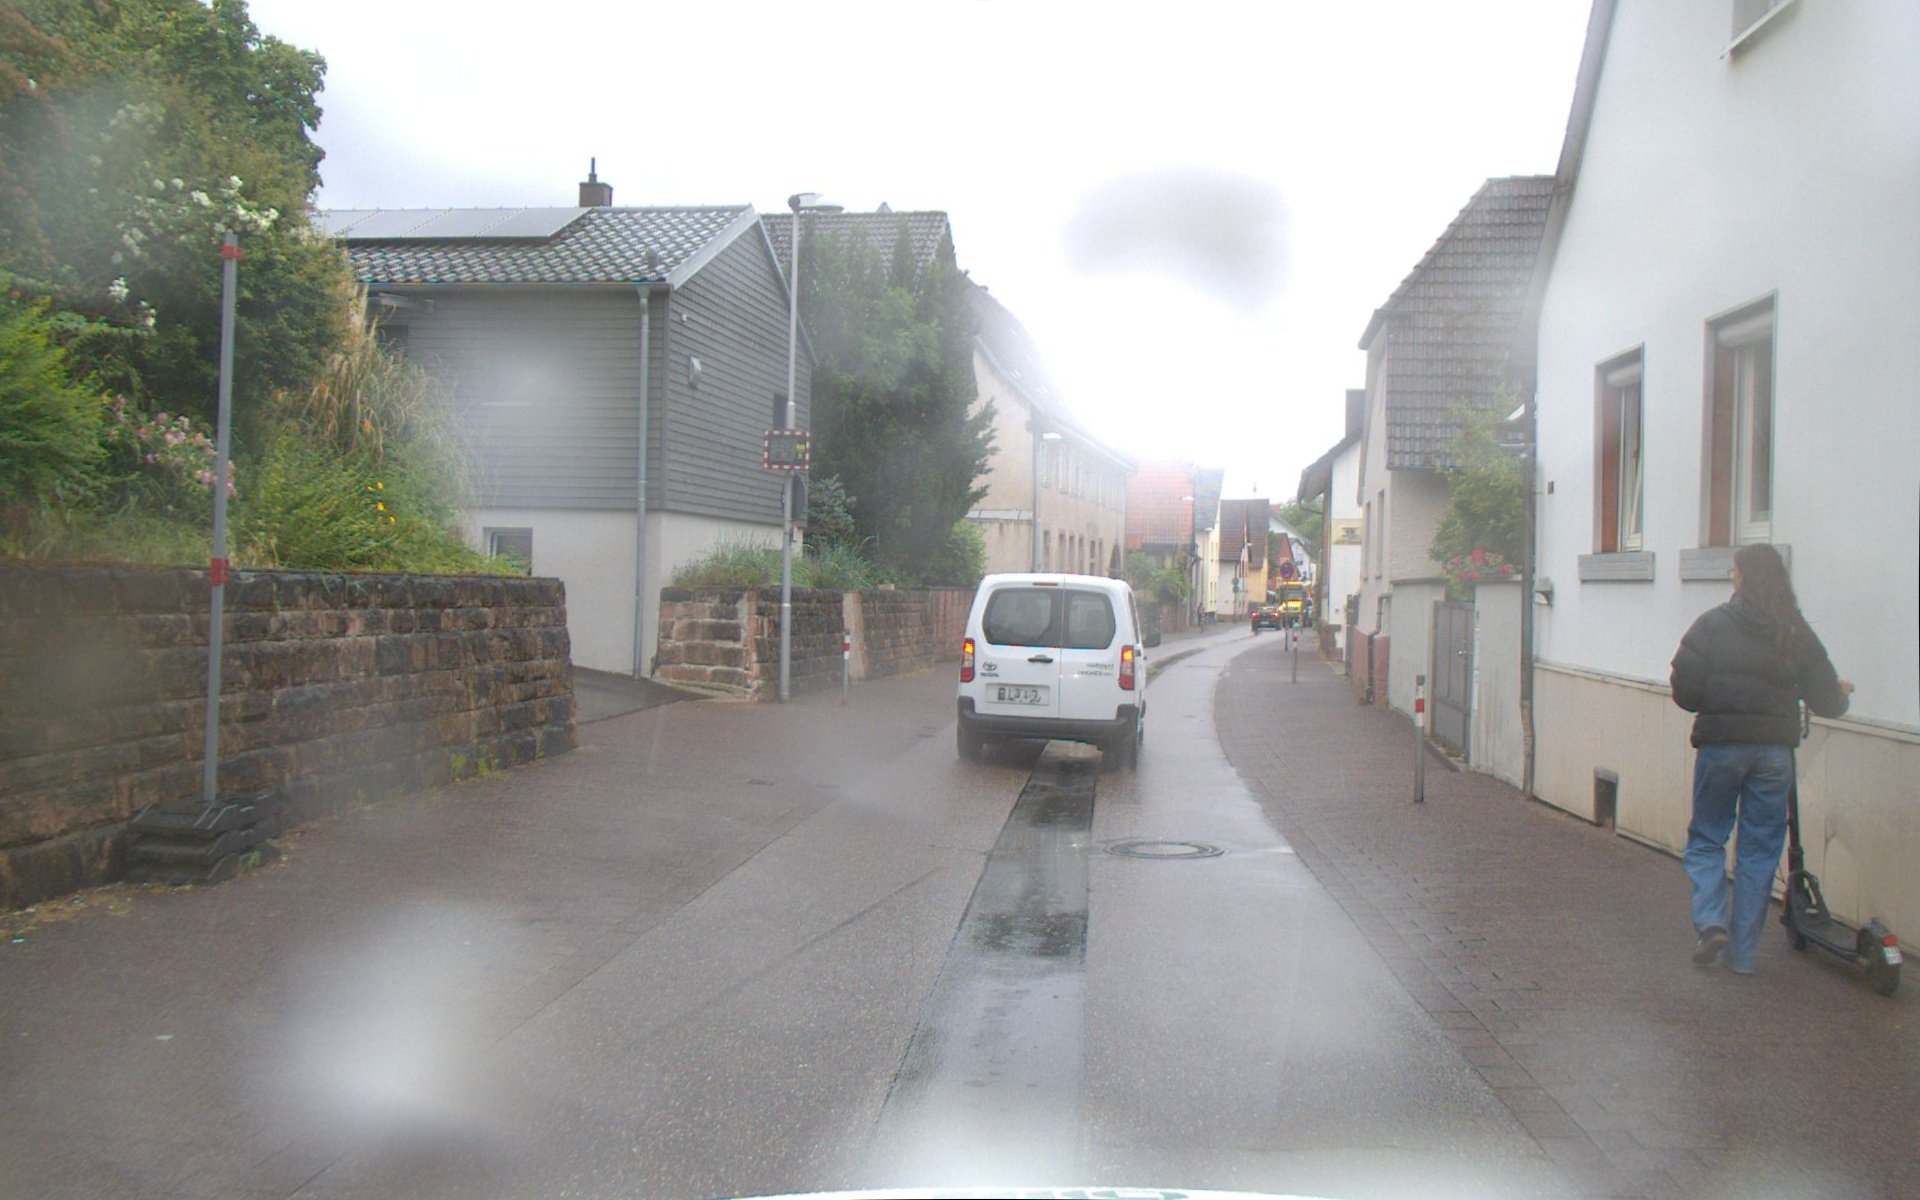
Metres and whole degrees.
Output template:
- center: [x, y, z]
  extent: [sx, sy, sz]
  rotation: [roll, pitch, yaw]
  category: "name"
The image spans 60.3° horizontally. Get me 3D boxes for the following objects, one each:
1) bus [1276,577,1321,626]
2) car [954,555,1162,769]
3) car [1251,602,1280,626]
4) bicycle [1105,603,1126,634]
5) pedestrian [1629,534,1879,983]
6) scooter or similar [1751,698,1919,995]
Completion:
- center: [24.133, 0.162, 117.674]
  extent: [2.734, 3.235, 8.184]
  rotation: [3, 0, 13]
  category: "bus"
- center: [1.139, 0.590, 17.170]
  extent: [1.757, 1.850, 4.104]
  rotation: [3, 0, 8]
  category: "car"
- center: [19.576, 0.917, 105.919]
  extent: [1.529, 1.395, 3.587]
  rotation: [3, 0, 14]
  category: "car"
- center: [6.222, 0.762, 66.080]
  extent: [0.473, 1.200, 1.836]
  rotation: [3, 0, 15]
  category: "bicycle"
- center: [3.303, 0.621, 6.948]
  extent: [0.680, 1.763, 0.821]
  rotation: [1, 0, 4]
  category: "pedestrian"
- center: [3.622, 0.971, 6.839]
  extent: [0.240, 1.046, 1.101]
  rotation: [0, 1, 4]
  category: "scooter or similar"
